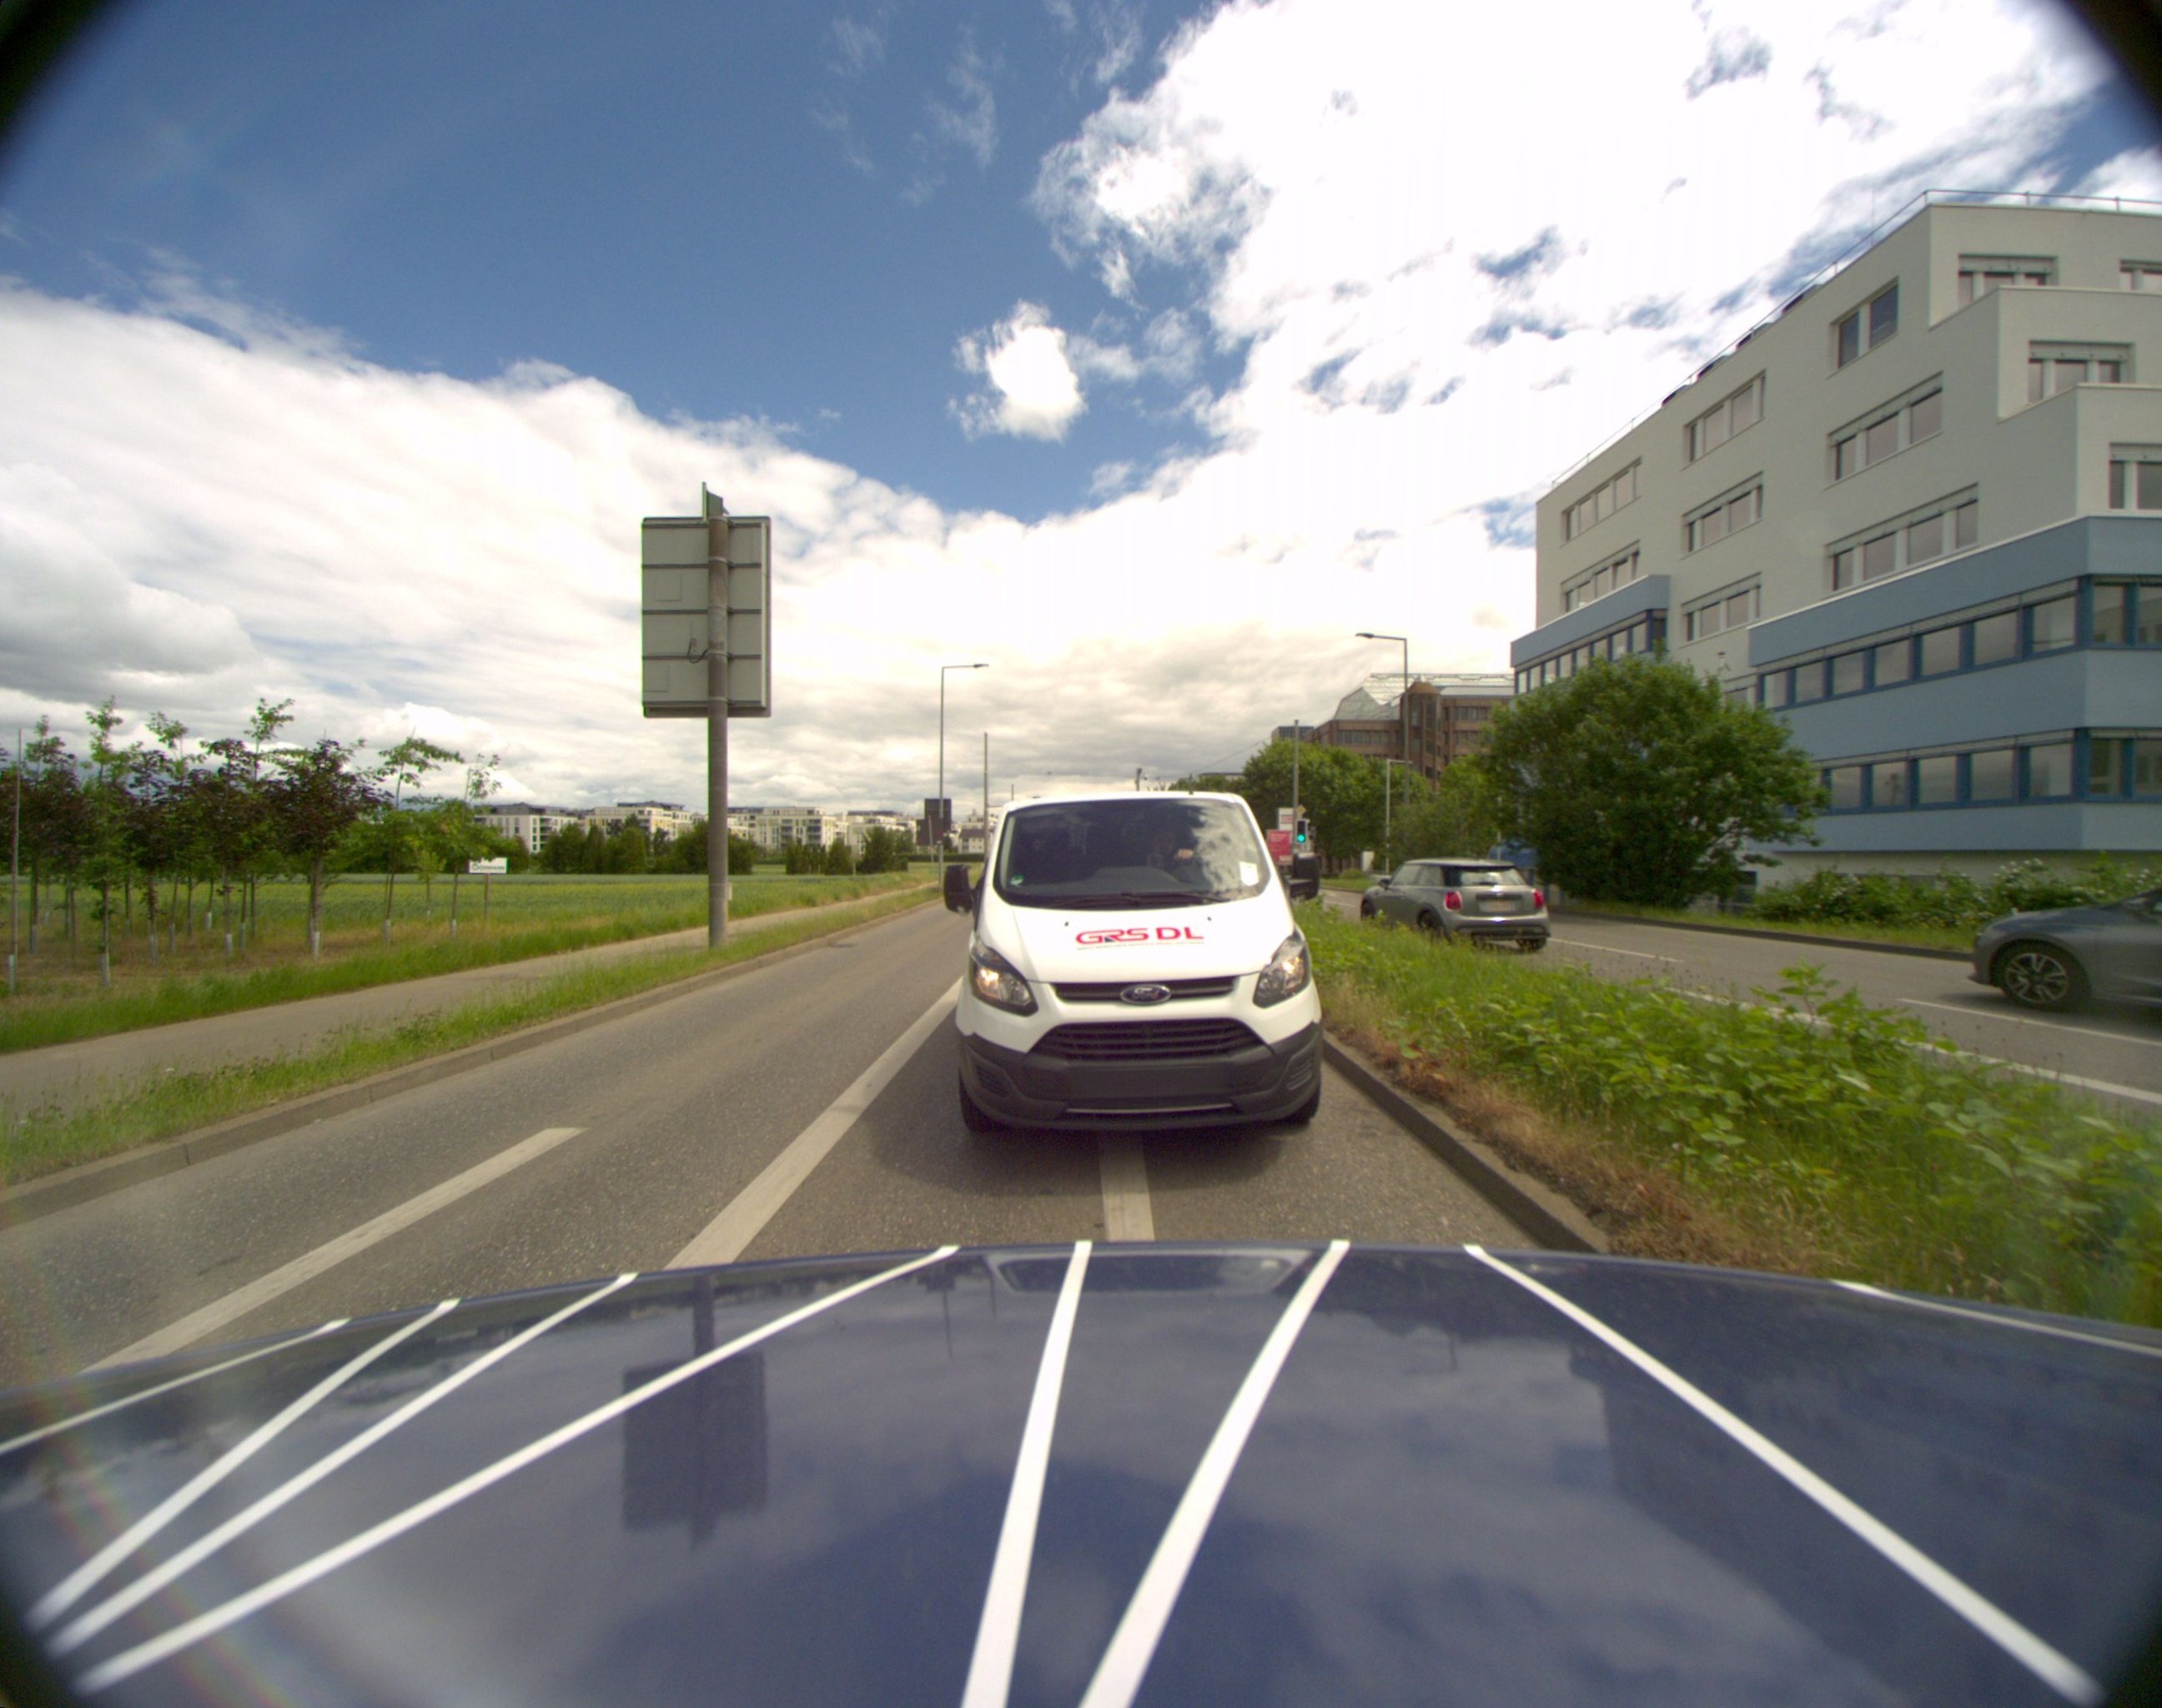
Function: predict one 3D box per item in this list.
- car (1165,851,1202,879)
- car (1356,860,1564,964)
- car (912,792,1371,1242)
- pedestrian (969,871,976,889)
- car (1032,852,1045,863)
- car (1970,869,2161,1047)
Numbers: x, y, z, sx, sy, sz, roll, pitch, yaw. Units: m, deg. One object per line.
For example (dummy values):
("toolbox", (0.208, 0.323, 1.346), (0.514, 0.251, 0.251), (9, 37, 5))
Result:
("car", (6.226, 0.649, 46.309), (1.700, 1.592, 4.043), (-1, 1, 0))
("car", (6.076, 0.849, 12.679), (1.693, 1.422, 3.635), (-1, 0, 1))
("car", (0.299, 0.719, 5.870), (1.968, 1.938, 5.055), (-2, 0, 1))
("pedestrian", (-10.151, 2.412, 71.161), (0.492, 1.693, 0.626), (-2, 1, -1))
("car", (-6.096, 0.486, 108.851), (1.683, 1.410, 3.739), (-1, 1, -1))
("car", (9.362, 0.834, 5.428), (1.558, 1.375, 3.779), (-1, 0, -1))
